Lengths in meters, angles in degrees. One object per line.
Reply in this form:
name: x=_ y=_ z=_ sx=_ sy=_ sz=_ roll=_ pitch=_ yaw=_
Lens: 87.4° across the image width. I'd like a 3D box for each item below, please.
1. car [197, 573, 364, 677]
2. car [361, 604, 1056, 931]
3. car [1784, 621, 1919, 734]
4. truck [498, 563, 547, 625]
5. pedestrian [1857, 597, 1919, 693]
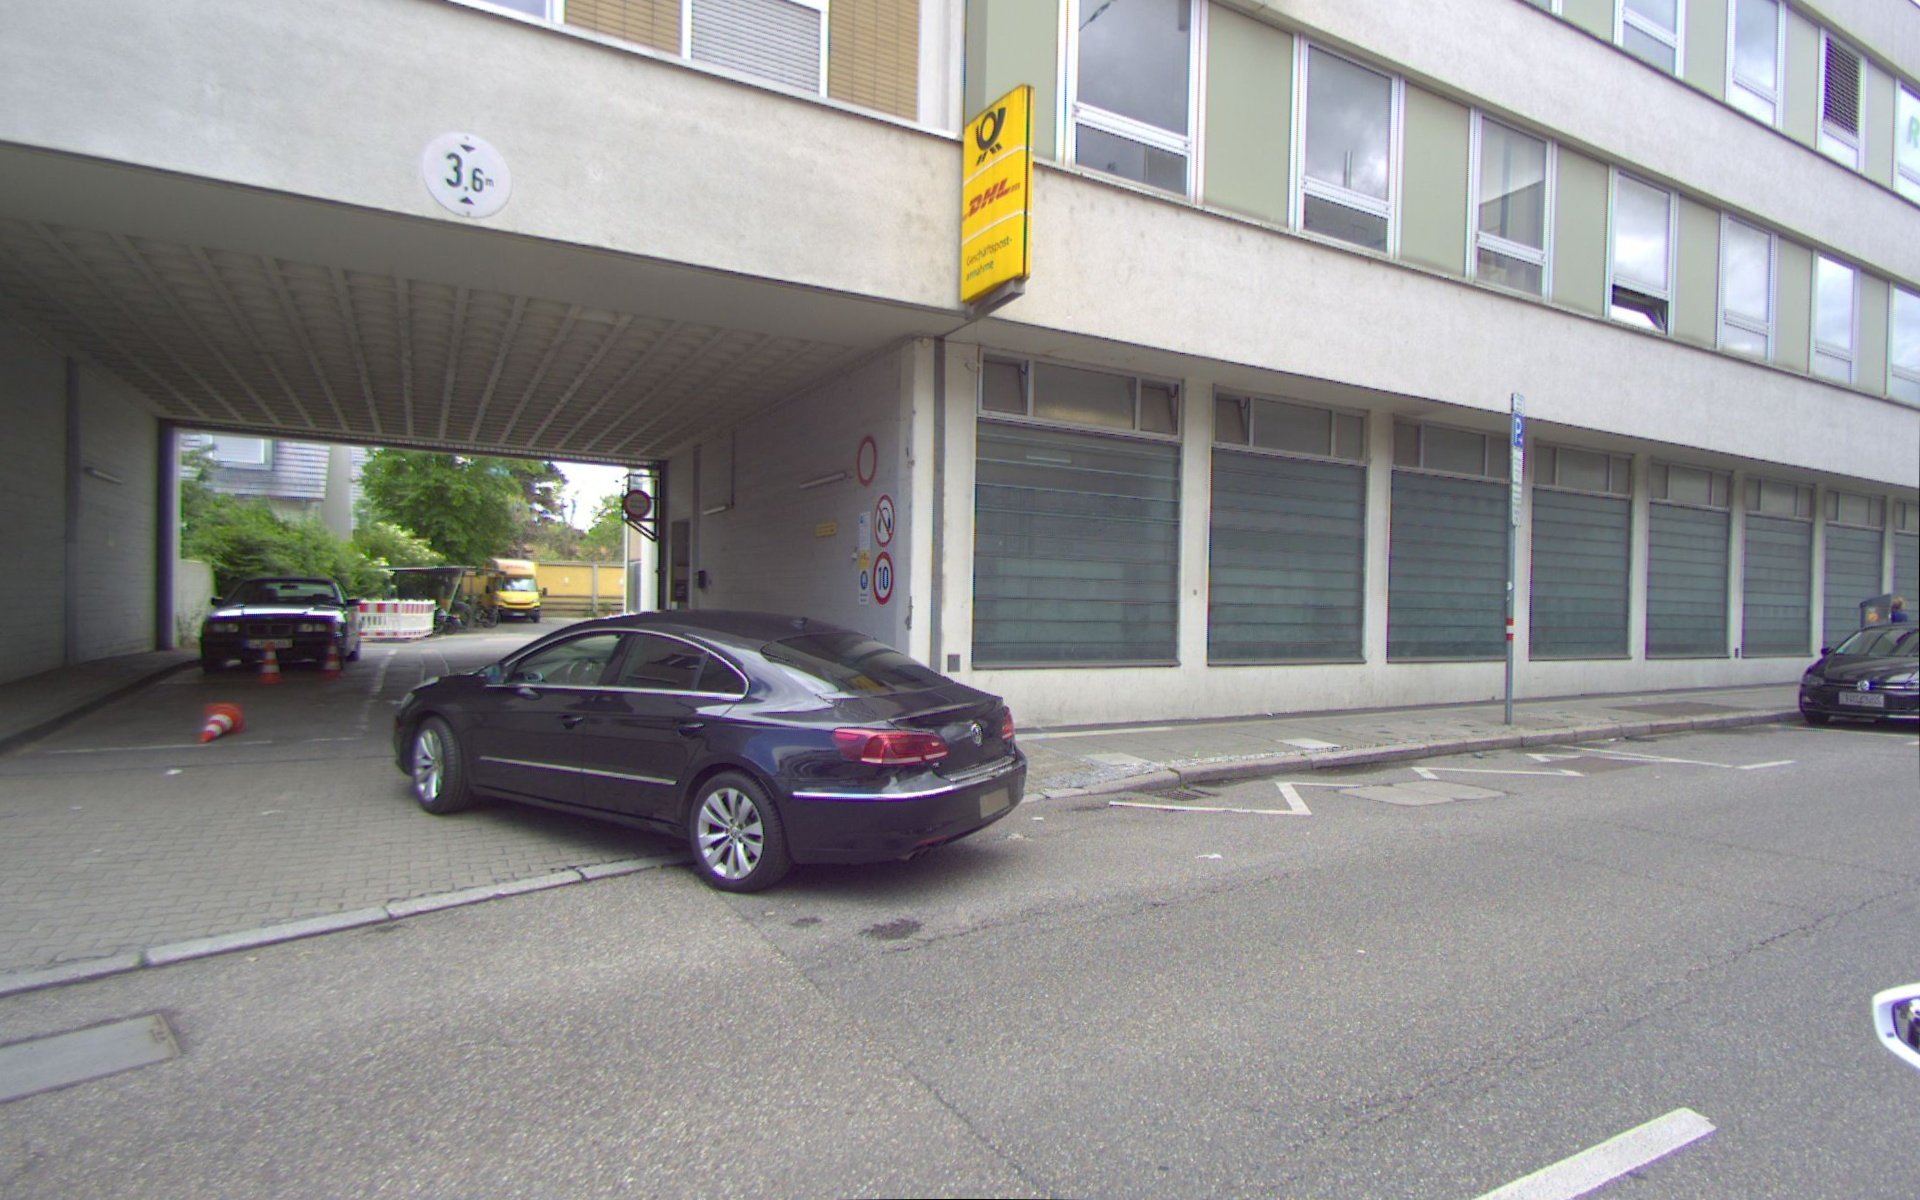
car: x=-10.080 y=0.311 z=15.193 sx=1.604 sy=1.341 sz=4.421 roll=1 pitch=0 yaw=-28
car: x=-1.737 y=0.789 z=6.443 sx=4.373 sy=1.417 sz=1.654 roll=1 pitch=0 yaw=29
car: x=13.647 y=1.030 z=14.363 sx=3.826 sy=1.444 sz=1.708 roll=1 pitch=-1 yaw=-31
truck: x=-21.218 y=-0.343 z=48.858 sx=1.971 sy=2.789 sz=7.255 roll=1 pitch=1 yaw=-23
pedestrian: x=17.379 y=0.822 z=18.791 sx=1.043 sy=1.741 sz=0.586 roll=1 pitch=0 yaw=-31
